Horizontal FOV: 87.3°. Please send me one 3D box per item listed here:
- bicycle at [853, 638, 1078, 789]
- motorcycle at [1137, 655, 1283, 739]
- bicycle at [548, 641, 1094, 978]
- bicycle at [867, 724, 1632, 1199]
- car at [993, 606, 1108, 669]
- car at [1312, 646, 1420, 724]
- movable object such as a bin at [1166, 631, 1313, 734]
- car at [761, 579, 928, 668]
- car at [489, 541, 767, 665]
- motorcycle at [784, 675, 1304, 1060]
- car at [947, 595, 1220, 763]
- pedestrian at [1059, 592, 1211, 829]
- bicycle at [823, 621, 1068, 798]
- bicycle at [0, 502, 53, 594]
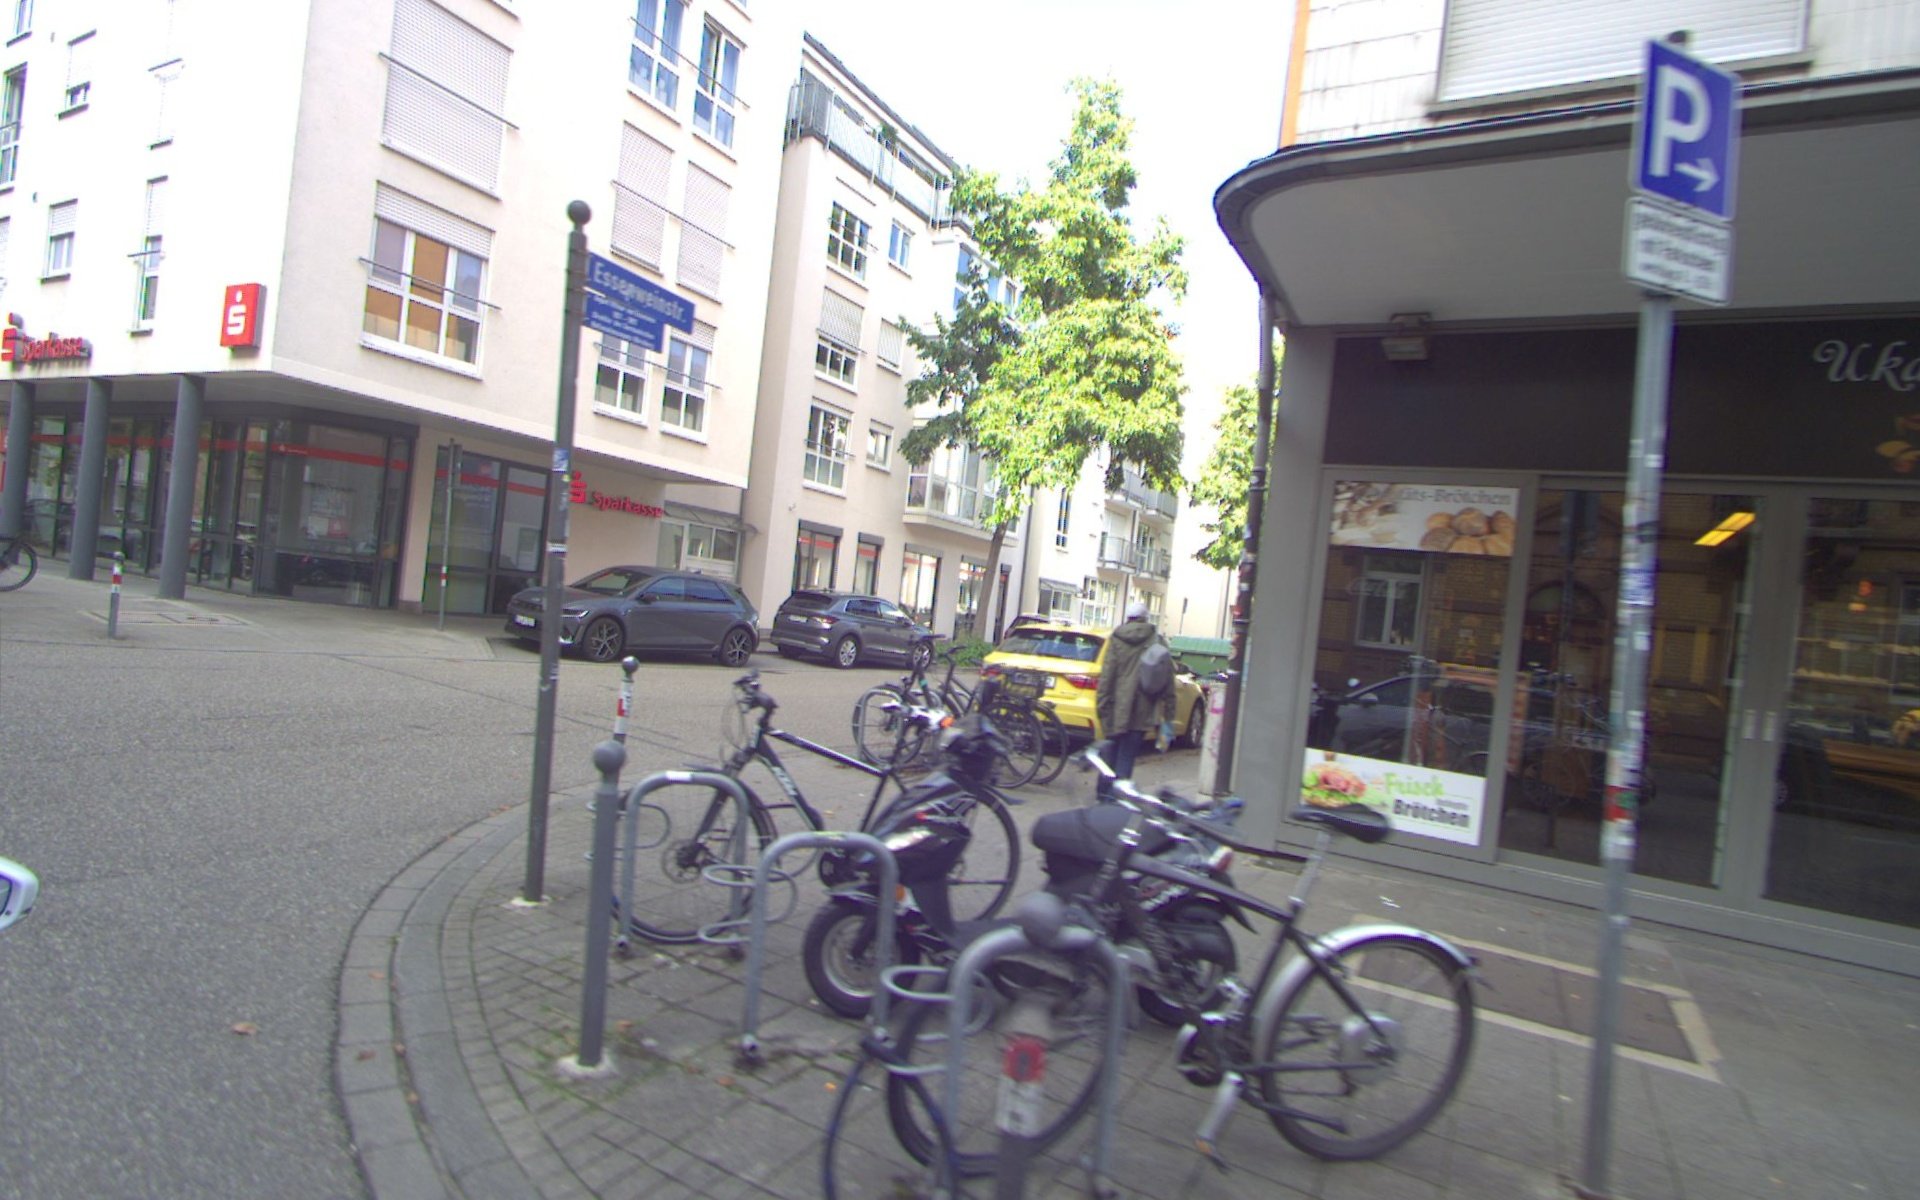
[{"bbox_3d":[0.031,0.973,8.974,1.892,1.077,0.446,6,0,22],"label":"bicycle"},{"bbox_3d":[3.975,1.520,16.013,2.081,1.015,0.659,7,0,24],"label":"motorcycle"},{"bbox_3d":[-0.534,0.818,4.035,1.933,1.109,0.688,6,1,-18],"label":"bicycle"},{"bbox_3d":[0.727,0.978,2.629,1.743,1.109,0.681,5,1,-18],"label":"bicycle"},{"bbox_3d":[2.919,1.213,31.738,1.774,1.621,3.980,9,1,34],"label":"car"},{"bbox_3d":[10.220,2.119,25.175,1.607,1.587,3.890,7,0,34],"label":"car"},{"bbox_3d":[4.752,1.376,17.049,2.158,1.473,1.315,4,-2,24],"label":"movable object such as a bin"},{"bbox_3d":[-2.503,0.565,22.496,1.615,1.587,3.607,9,1,34],"label":"car"},{"bbox_3d":[-5.611,0.141,17.565,1.777,1.650,4.367,9,1,31],"label":"car"},{"bbox_3d":[0.281,0.908,3.566,1.640,1.109,0.606,5,2,-18],"label":"motorcycle"},{"bbox_3d":[1.631,0.900,12.024,1.767,1.519,3.790,6,0,30],"label":"car"},{"bbox_3d":[1.343,0.801,7.627,0.812,1.609,0.780,6,1,24],"label":"pedestrian"},{"bbox_3d":[-0.137,0.881,8.471,1.898,1.206,0.535,6,0,22],"label":"bicycle"},{"bbox_3d":[-13.079,-0.732,13.082,0.639,1.178,1.765,8,3,32],"label":"bicycle"}]
